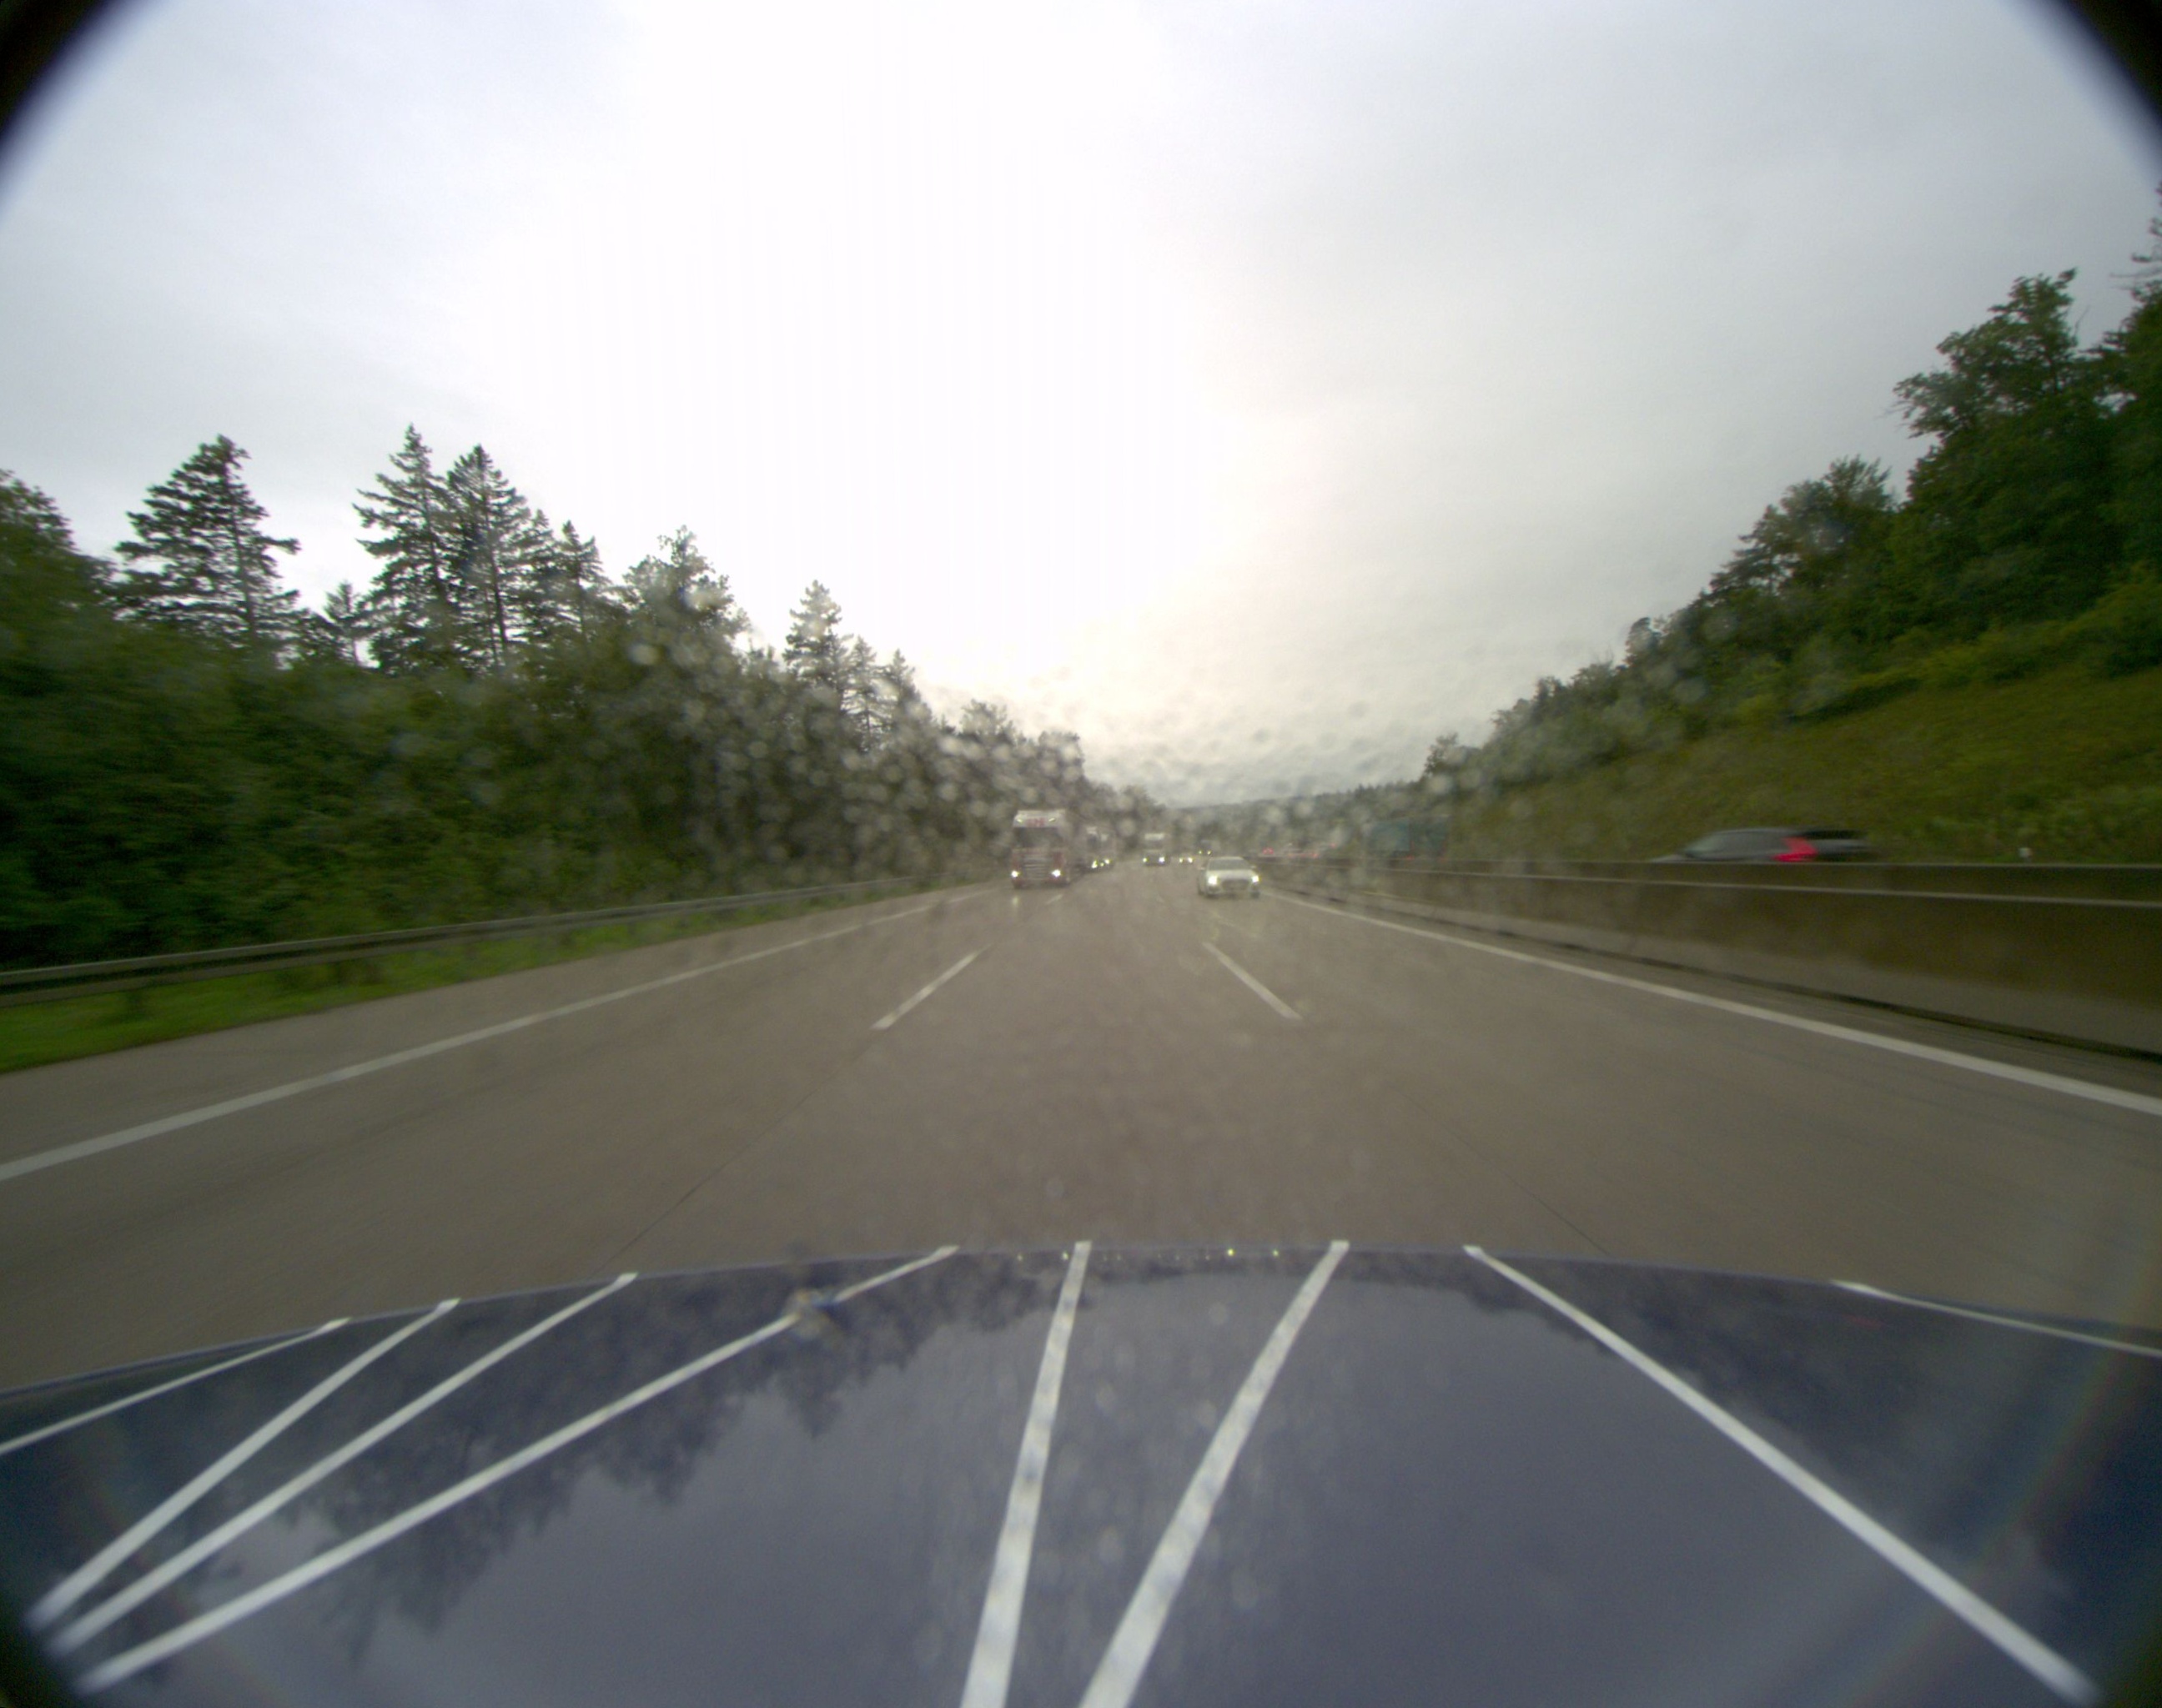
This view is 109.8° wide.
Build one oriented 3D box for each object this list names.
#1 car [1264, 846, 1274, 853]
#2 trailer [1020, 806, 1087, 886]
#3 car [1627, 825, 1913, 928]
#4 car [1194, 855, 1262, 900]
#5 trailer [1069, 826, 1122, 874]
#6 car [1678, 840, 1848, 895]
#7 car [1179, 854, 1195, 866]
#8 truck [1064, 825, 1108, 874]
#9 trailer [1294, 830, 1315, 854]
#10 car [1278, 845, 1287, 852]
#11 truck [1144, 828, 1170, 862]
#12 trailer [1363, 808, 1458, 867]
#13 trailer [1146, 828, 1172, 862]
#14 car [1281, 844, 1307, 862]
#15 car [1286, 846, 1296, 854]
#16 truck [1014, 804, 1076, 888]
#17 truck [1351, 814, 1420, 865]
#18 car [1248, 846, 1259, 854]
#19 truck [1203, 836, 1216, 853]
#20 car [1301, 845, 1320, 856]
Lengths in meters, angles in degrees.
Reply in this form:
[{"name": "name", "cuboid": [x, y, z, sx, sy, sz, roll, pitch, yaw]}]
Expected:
[{"name": "car", "cuboid": [47.052, -1.155, 190.293, 1.996, 1.576, 4.778, -1, 1, 19]}, {"name": "trailer", "cuboid": [-1.345, -0.377, 44.423, 2.376, 3.930, 12.524, -3, 0, 4]}, {"name": "car", "cuboid": [13.747, 0.379, 15.656, 1.735, 1.766, 4.759, -1, 0, 3]}, {"name": "car", "cuboid": [5.213, 0.788, 27.520, 1.716, 1.399, 4.936, -2, 0, 3]}, {"name": "trailer", "cuboid": [1.627, -0.471, 72.849, 2.739, 4.080, 13.691, -2, 1, 10]}, {"name": "car", "cuboid": [21.367, 0.378, 24.074, 1.735, 1.567, 4.244, -1, 0, 3]}, {"name": "car", "cuboid": [13.791, 0.771, 98.883, 1.849, 1.474, 4.450, -2, 0, 5]}, {"name": "truck", "cuboid": [0.491, -0.428, 67.375, 2.803, 4.080, 5.971, -2, 1, 10]}, {"name": "trailer", "cuboid": [39.586, -2.108, 134.978, 2.931, 3.938, 13.476, -1, 1, 14]}, {"name": "car", "cuboid": [47.733, -1.411, 180.095, 1.996, 1.576, 4.777, -1, 1, 16]}, {"name": "truck", "cuboid": [9.590, -1.110, 95.153, 2.726, 4.017, 5.756, -4, 0, 9]}, {"name": "trailer", "cuboid": [24.148, -1.113, 56.472, 2.913, 3.866, 11.039, -2, 0, 4]}, {"name": "trailer", "cuboid": [10.605, -1.158, 102.066, 2.684, 4.017, 13.712, -4, 0, 8]}, {"name": "car", "cuboid": [22.630, -0.112, 80.946, 1.735, 1.766, 4.759, -1, 0, 4]}, {"name": "car", "cuboid": [55.444, -1.079, 200.399, 1.997, 2.002, 4.003, -1, 0, 10]}, {"name": "truck", "cuboid": [-1.744, -0.315, 39.304, 2.380, 3.930, 6.162, -2, -1, 4]}, {"name": "truck", "cuboid": [24.548, -1.137, 61.709, 2.913, 3.866, 7.366, -2, 0, 3]}, {"name": "car", "cuboid": [30.332, -0.700, 133.614, 1.734, 1.484, 4.002, -1, 0, 9]}, {"name": "truck", "cuboid": [34.111, -2.499, 201.497, 2.734, 4.127, 8.631, -2, 0, 15]}, {"name": "car", "cuboid": [30.493, -0.486, 101.209, 1.734, 1.484, 4.002, -1, 0, 7]}]
